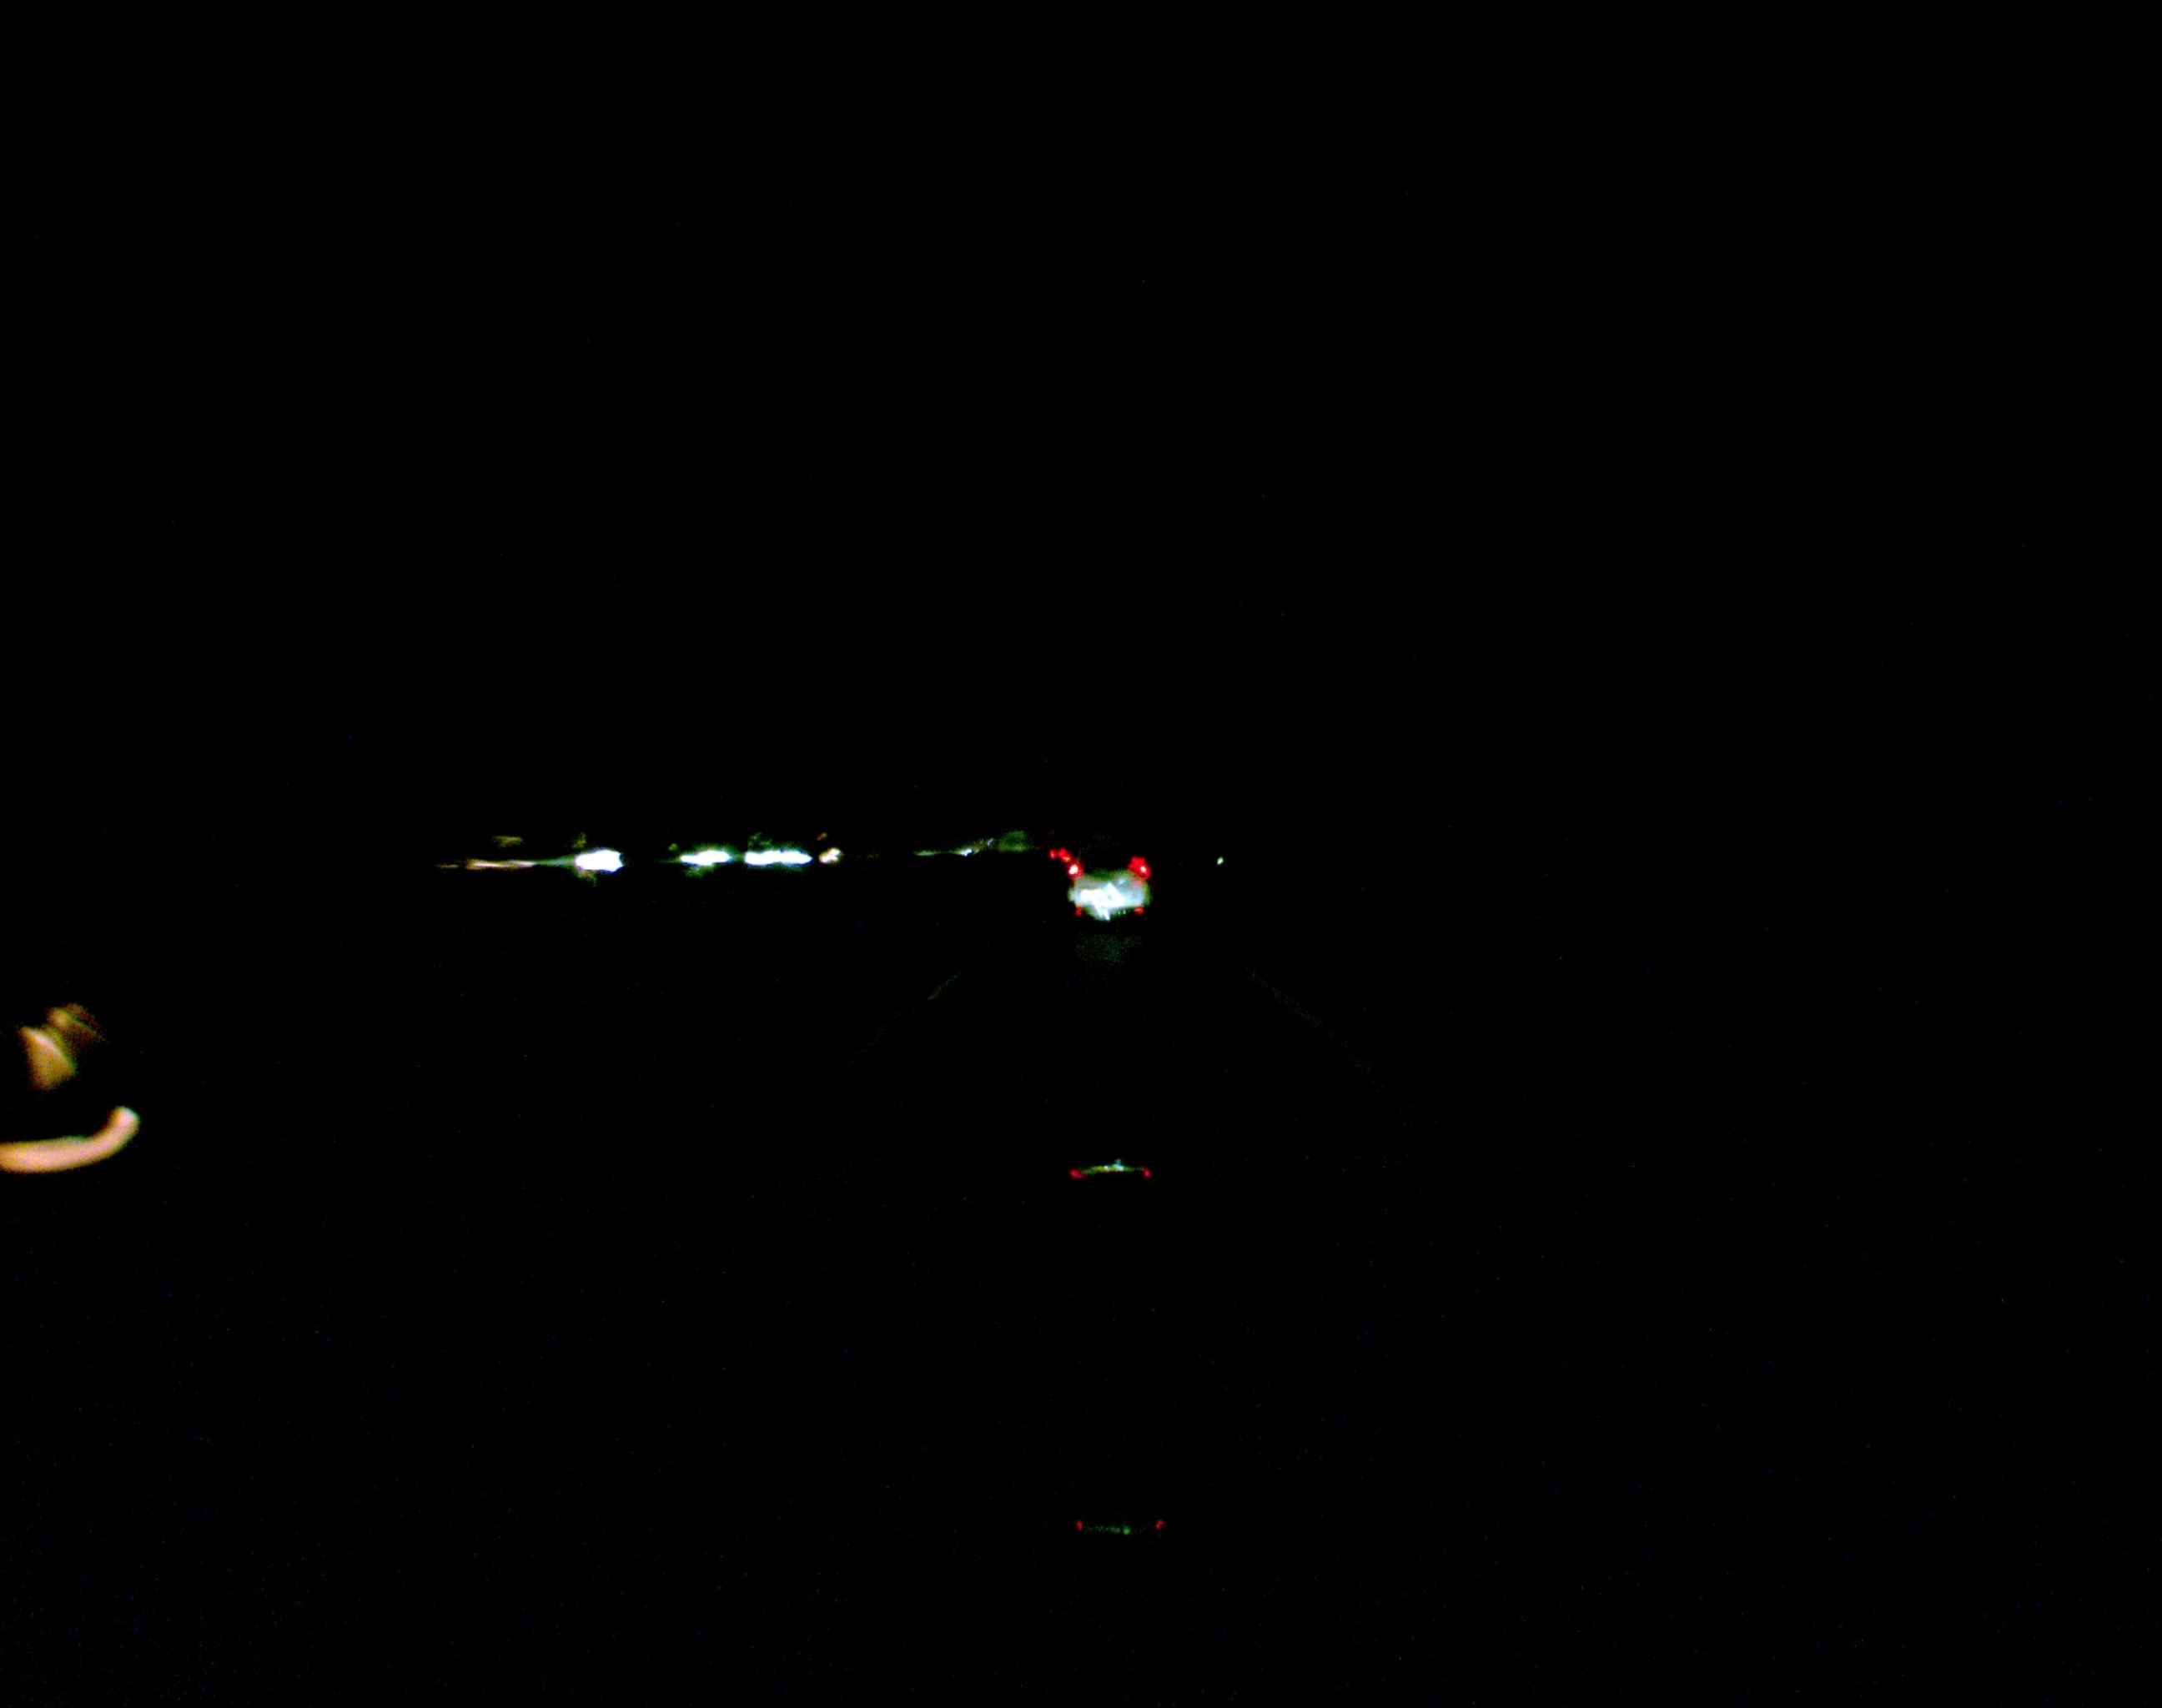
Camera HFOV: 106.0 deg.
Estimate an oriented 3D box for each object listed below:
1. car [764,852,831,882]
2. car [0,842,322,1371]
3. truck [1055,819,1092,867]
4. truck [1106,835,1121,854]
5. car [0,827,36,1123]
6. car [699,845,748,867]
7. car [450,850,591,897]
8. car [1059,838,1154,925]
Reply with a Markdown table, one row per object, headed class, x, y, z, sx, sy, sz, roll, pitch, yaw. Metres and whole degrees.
| class | x | y | z | sx | sy | sz | roll | pitch | yaw |
| --- | --- | --- | --- | --- | --- | --- | --- | --- | --- |
| car | -14.131 | 0.632 | 40.819 | 1.965 | 1.464 | 3.999 | 0 | 0 | 0 |
| car | -4.253 | 0.766 | 1.367 | 1.909 | 1.594 | 4.235 | -1 | 0 | 2 |
| truck | -0.769 | -1.203 | 99.915 | 4.152 | 5.544 | 13.078 | 0 | 0 | 1 |
| truck | 8.754 | -2.407 | 220.264 | 3.810 | 4.915 | 11.609 | 0 | 0 | 1 |
| car | -7.572 | 0.715 | 2.621 | 1.986 | 1.777 | 4.890 | 0 | 0 | 2 |
| car | -25.976 | 0.142 | 59.324 | 1.702 | 1.464 | 4.001 | 1 | 0 | 1 |
| car | -18.668 | 0.612 | 27.377 | 1.965 | 1.464 | 3.999 | 0 | 0 | 0 |
| car | 0.582 | 0.572 | 19.221 | 1.946 | 1.792 | 5.125 | 0 | 0 | 1 |
